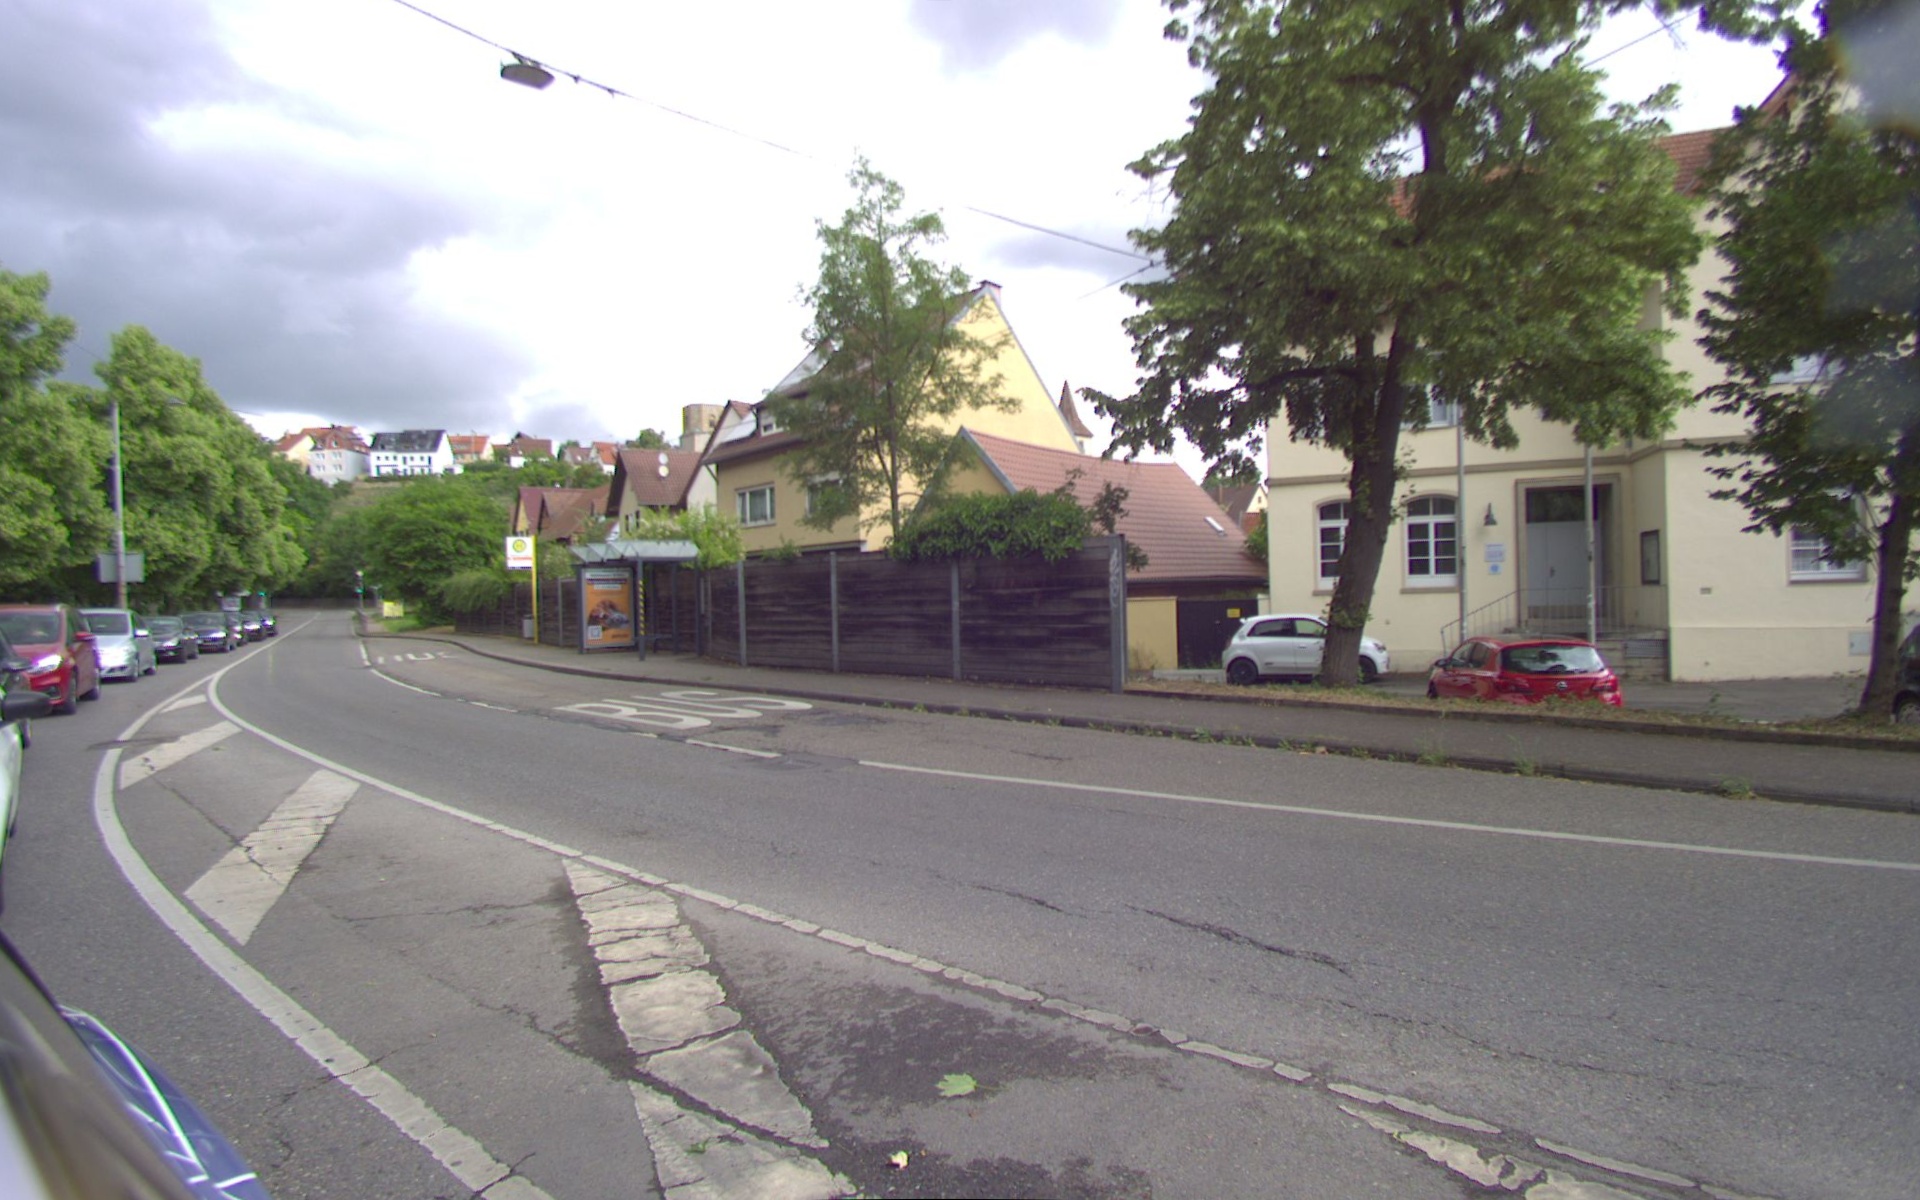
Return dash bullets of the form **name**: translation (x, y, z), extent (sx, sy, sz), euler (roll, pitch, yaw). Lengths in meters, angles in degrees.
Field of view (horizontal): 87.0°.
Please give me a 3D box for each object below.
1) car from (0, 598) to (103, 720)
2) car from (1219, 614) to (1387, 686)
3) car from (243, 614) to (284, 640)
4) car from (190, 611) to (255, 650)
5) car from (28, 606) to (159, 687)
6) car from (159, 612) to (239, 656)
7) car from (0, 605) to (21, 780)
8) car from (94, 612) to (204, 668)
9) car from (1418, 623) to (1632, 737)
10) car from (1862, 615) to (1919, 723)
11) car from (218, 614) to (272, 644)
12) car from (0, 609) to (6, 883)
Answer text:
- **car**: translation (-14.395, 0.829, 15.490), extent (1.649, 1.654, 4.110), euler (-1, 0, -36)
- **car**: translation (7.708, 1.106, 22.914), extent (3.454, 1.503, 1.643), euler (-1, 0, 19)
- **car**: translation (-35.904, 1.350, 52.223), extent (1.396, 1.259, 3.306), euler (-1, 0, -29)
- **car**: translation (-30.050, 1.211, 41.315), extent (1.679, 1.457, 3.879), euler (-1, 0, -29)
- **car**: translation (-18.960, 0.946, 22.308), extent (1.755, 1.580, 4.010), euler (-1, 0, -34)
- **car**: translation (-26.669, 1.156, 35.590), extent (1.669, 1.422, 3.994), euler (-1, 0, -29)
- **car**: translation (-10.318, 0.832, 9.817), extent (1.705, 1.532, 4.005), euler (-1, 0, -42)
- **car**: translation (-23.621, 1.121, 29.636), extent (1.823, 1.468, 4.013), euler (-1, 0, -29)
- **car**: translation (8.088, 1.074, 14.852), extent (1.582, 1.363, 3.619), euler (-1, 0, 10)
- **car**: translation (12.607, 0.861, 11.718), extent (1.465, 1.320, 3.394), euler (-1, 0, 6)
- **car**: translation (-32.795, 1.299, 46.501), extent (1.617, 1.278, 3.637), euler (-1, 0, -29)
- **car**: translation (-6.199, 0.820, 5.371), extent (1.604, 1.519, 4.004), euler (-1, 0, -43)
